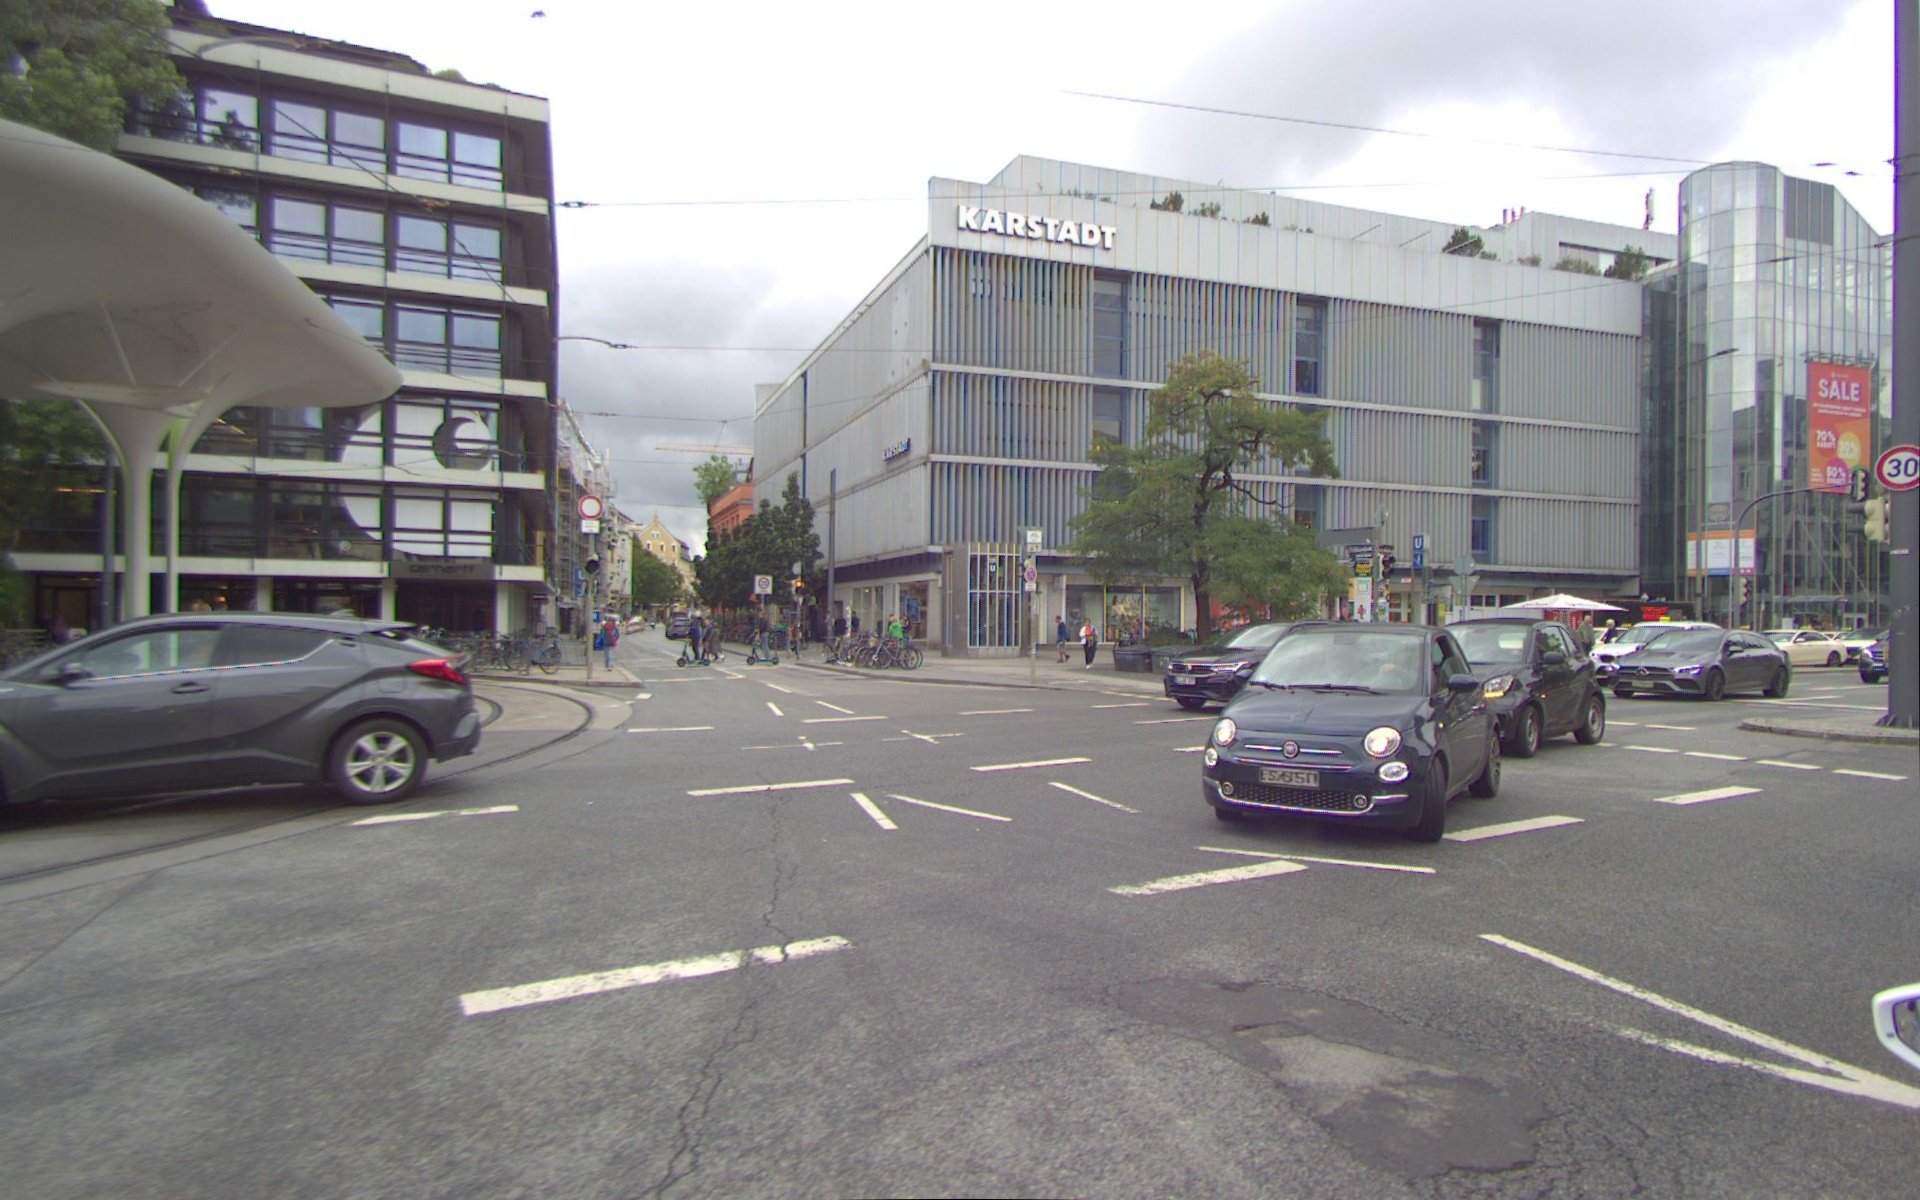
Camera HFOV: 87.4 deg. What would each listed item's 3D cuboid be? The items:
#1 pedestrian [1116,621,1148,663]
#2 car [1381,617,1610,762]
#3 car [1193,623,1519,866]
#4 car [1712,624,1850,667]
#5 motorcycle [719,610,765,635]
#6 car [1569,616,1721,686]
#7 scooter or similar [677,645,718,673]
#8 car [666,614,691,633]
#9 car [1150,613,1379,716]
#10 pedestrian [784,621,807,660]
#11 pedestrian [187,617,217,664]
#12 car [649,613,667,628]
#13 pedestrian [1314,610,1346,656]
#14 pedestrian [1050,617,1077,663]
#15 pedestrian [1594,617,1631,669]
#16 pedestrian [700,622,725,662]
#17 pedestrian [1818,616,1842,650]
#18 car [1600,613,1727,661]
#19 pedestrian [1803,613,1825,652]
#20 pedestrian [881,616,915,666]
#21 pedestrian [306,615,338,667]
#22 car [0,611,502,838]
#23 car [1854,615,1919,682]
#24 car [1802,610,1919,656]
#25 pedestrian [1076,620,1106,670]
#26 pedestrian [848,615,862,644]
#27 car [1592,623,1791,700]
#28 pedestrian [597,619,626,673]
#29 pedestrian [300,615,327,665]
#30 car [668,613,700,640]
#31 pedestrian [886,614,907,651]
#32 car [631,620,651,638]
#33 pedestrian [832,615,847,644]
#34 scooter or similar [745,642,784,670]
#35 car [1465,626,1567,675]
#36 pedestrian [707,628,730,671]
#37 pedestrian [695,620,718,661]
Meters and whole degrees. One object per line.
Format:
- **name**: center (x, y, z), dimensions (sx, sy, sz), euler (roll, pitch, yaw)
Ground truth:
- **pedestrian**: center (6.696, 1.614, 39.049), dimensions (0.962, 1.602, 0.796), euler (1, -1, -19)
- **car**: center (6.568, 1.016, 12.259), dimensions (2.813, 1.555, 1.491), euler (1, -3, -39)
- **car**: center (3.293, 0.921, 7.972), dimensions (1.526, 1.465, 3.526), euler (-1, -1, 37)
- **car**: center (30.338, 1.650, 37.116), dimensions (4.565, 1.528, 1.990), euler (1, -1, -21)
- **motorcycle**: center (-19.243, 2.008, 88.857), dimensions (3.860, 2.189, 1.173), euler (0, -1, -7)
- **car**: center (17.186, 1.226, 25.159), dimensions (3.955, 1.617, 1.690), euler (1, -1, -32)
- **scooter or similar**: center (-9.558, 2.130, 36.540), dimensions (1.385, 0.995, 0.412), euler (1, -1, -25)
- **car**: center (-26.496, 2.211, 94.584), dimensions (1.970, 1.684, 3.981), euler (1, -1, -20)
- **car**: center (5.553, 1.100, 18.230), dimensions (3.953, 1.684, 1.774), euler (1, -1, -30)
- **pedestrian**: center (-7.126, 1.733, 43.453), dimensions (0.839, 1.676, 0.799), euler (0, -1, -18)
- **pedestrian**: center (-26.193, 1.396, 34.705), dimensions (0.663, 1.613, 0.592), euler (1, -1, -20)
- **car**: center (-37.058, 2.515, 123.237), dimensions (1.932, 1.774, 3.981), euler (1, -1, -21)
- **pedestrian**: center (12.819, 1.141, 34.838), dimensions (0.739, 1.575, 0.771), euler (0, -1, -14)
- **pedestrian**: center (3.898, 1.491, 37.858), dimensions (0.774, 1.710, 0.862), euler (0, -1, 25)
- **pedestrian**: center (22.034, 1.433, 33.930), dimensions (0.741, 1.713, 0.768), euler (0, -1, -25)
- **pedestrian**: center (-10.062, 1.694, 40.865), dimensions (0.934, 1.609, 0.739), euler (0, -1, -19)
- **pedestrian**: center (43.841, 1.659, 50.628), dimensions (0.700, 1.714, 0.651), euler (1, -1, -17)
- **car**: center (24.013, 1.231, 34.268), dimensions (4.340, 1.563, 1.892), euler (1, -1, -30)
- **pedestrian**: center (40.743, 1.556, 47.938), dimensions (0.618, 1.842, 0.557), euler (1, -1, -19)
- **pedestrian**: center (-2.069, 1.374, 33.676), dimensions (0.804, 1.640, 0.830), euler (1, -1, -45)
- **pedestrian**: center (-22.777, 1.462, 35.869), dimensions (0.815, 1.824, 0.718), euler (1, -1, -20)
- **car**: center (-6.071, 0.891, 8.018), dimensions (4.234, 1.528, 1.655), euler (1, -3, -32)
- **car**: center (26.235, 1.265, 27.124), dimensions (4.675, 1.692, 1.735), euler (1, -1, -30)
- **car**: center (35.370, 1.266, 39.160), dimensions (4.116, 1.701, 1.992), euler (1, 0, -18)
- **pedestrian**: center (4.200, 1.433, 32.250), dimensions (0.711, 1.595, 0.636), euler (1, -1, -25)
- **pedestrian**: center (-5.845, 1.645, 55.905), dimensions (0.646, 1.573, 0.678), euler (1, -1, -21)
- **car**: center (15.258, 1.221, 20.913), dimensions (4.122, 1.430, 1.983), euler (1, -2, -33)
- **pedestrian**: center (-10.925, 1.415, 31.508), dimensions (0.779, 1.664, 0.853), euler (0, -1, -25)
- **pedestrian**: center (-23.441, 1.445, 36.424), dimensions (0.679, 1.824, 0.592), euler (1, -1, -20)
- **car**: center (-22.005, 2.070, 79.985), dimensions (2.142, 2.087, 3.981), euler (1, -1, -21)
- **pedestrian**: center (-2.952, 1.506, 46.586), dimensions (0.774, 1.710, 0.784), euler (1, -1, -25)
- **car**: center (-35.395, 3.183, 111.501), dimensions (1.932, 1.884, 3.981), euler (1, -1, -21)
- **pedestrian**: center (-6.665, 1.631, 55.515), dimensions (0.646, 1.573, 0.678), euler (1, -1, -21)
- **scooter or similar**: center (-7.245, 2.072, 37.229), dimensions (1.382, 0.995, 0.413), euler (0, -1, -18)
- **car**: center (19.270, 1.694, 34.729), dimensions (1.973, 1.556, 4.386), euler (-1, -2, 45)
- **pedestrian**: center (-9.675, 1.975, 40.241), dimensions (0.844, 1.664, 0.786), euler (0, -1, -19)
- **pedestrian**: center (-10.514, 1.671, 41.664), dimensions (0.839, 1.676, 0.799), euler (0, -1, -18)
